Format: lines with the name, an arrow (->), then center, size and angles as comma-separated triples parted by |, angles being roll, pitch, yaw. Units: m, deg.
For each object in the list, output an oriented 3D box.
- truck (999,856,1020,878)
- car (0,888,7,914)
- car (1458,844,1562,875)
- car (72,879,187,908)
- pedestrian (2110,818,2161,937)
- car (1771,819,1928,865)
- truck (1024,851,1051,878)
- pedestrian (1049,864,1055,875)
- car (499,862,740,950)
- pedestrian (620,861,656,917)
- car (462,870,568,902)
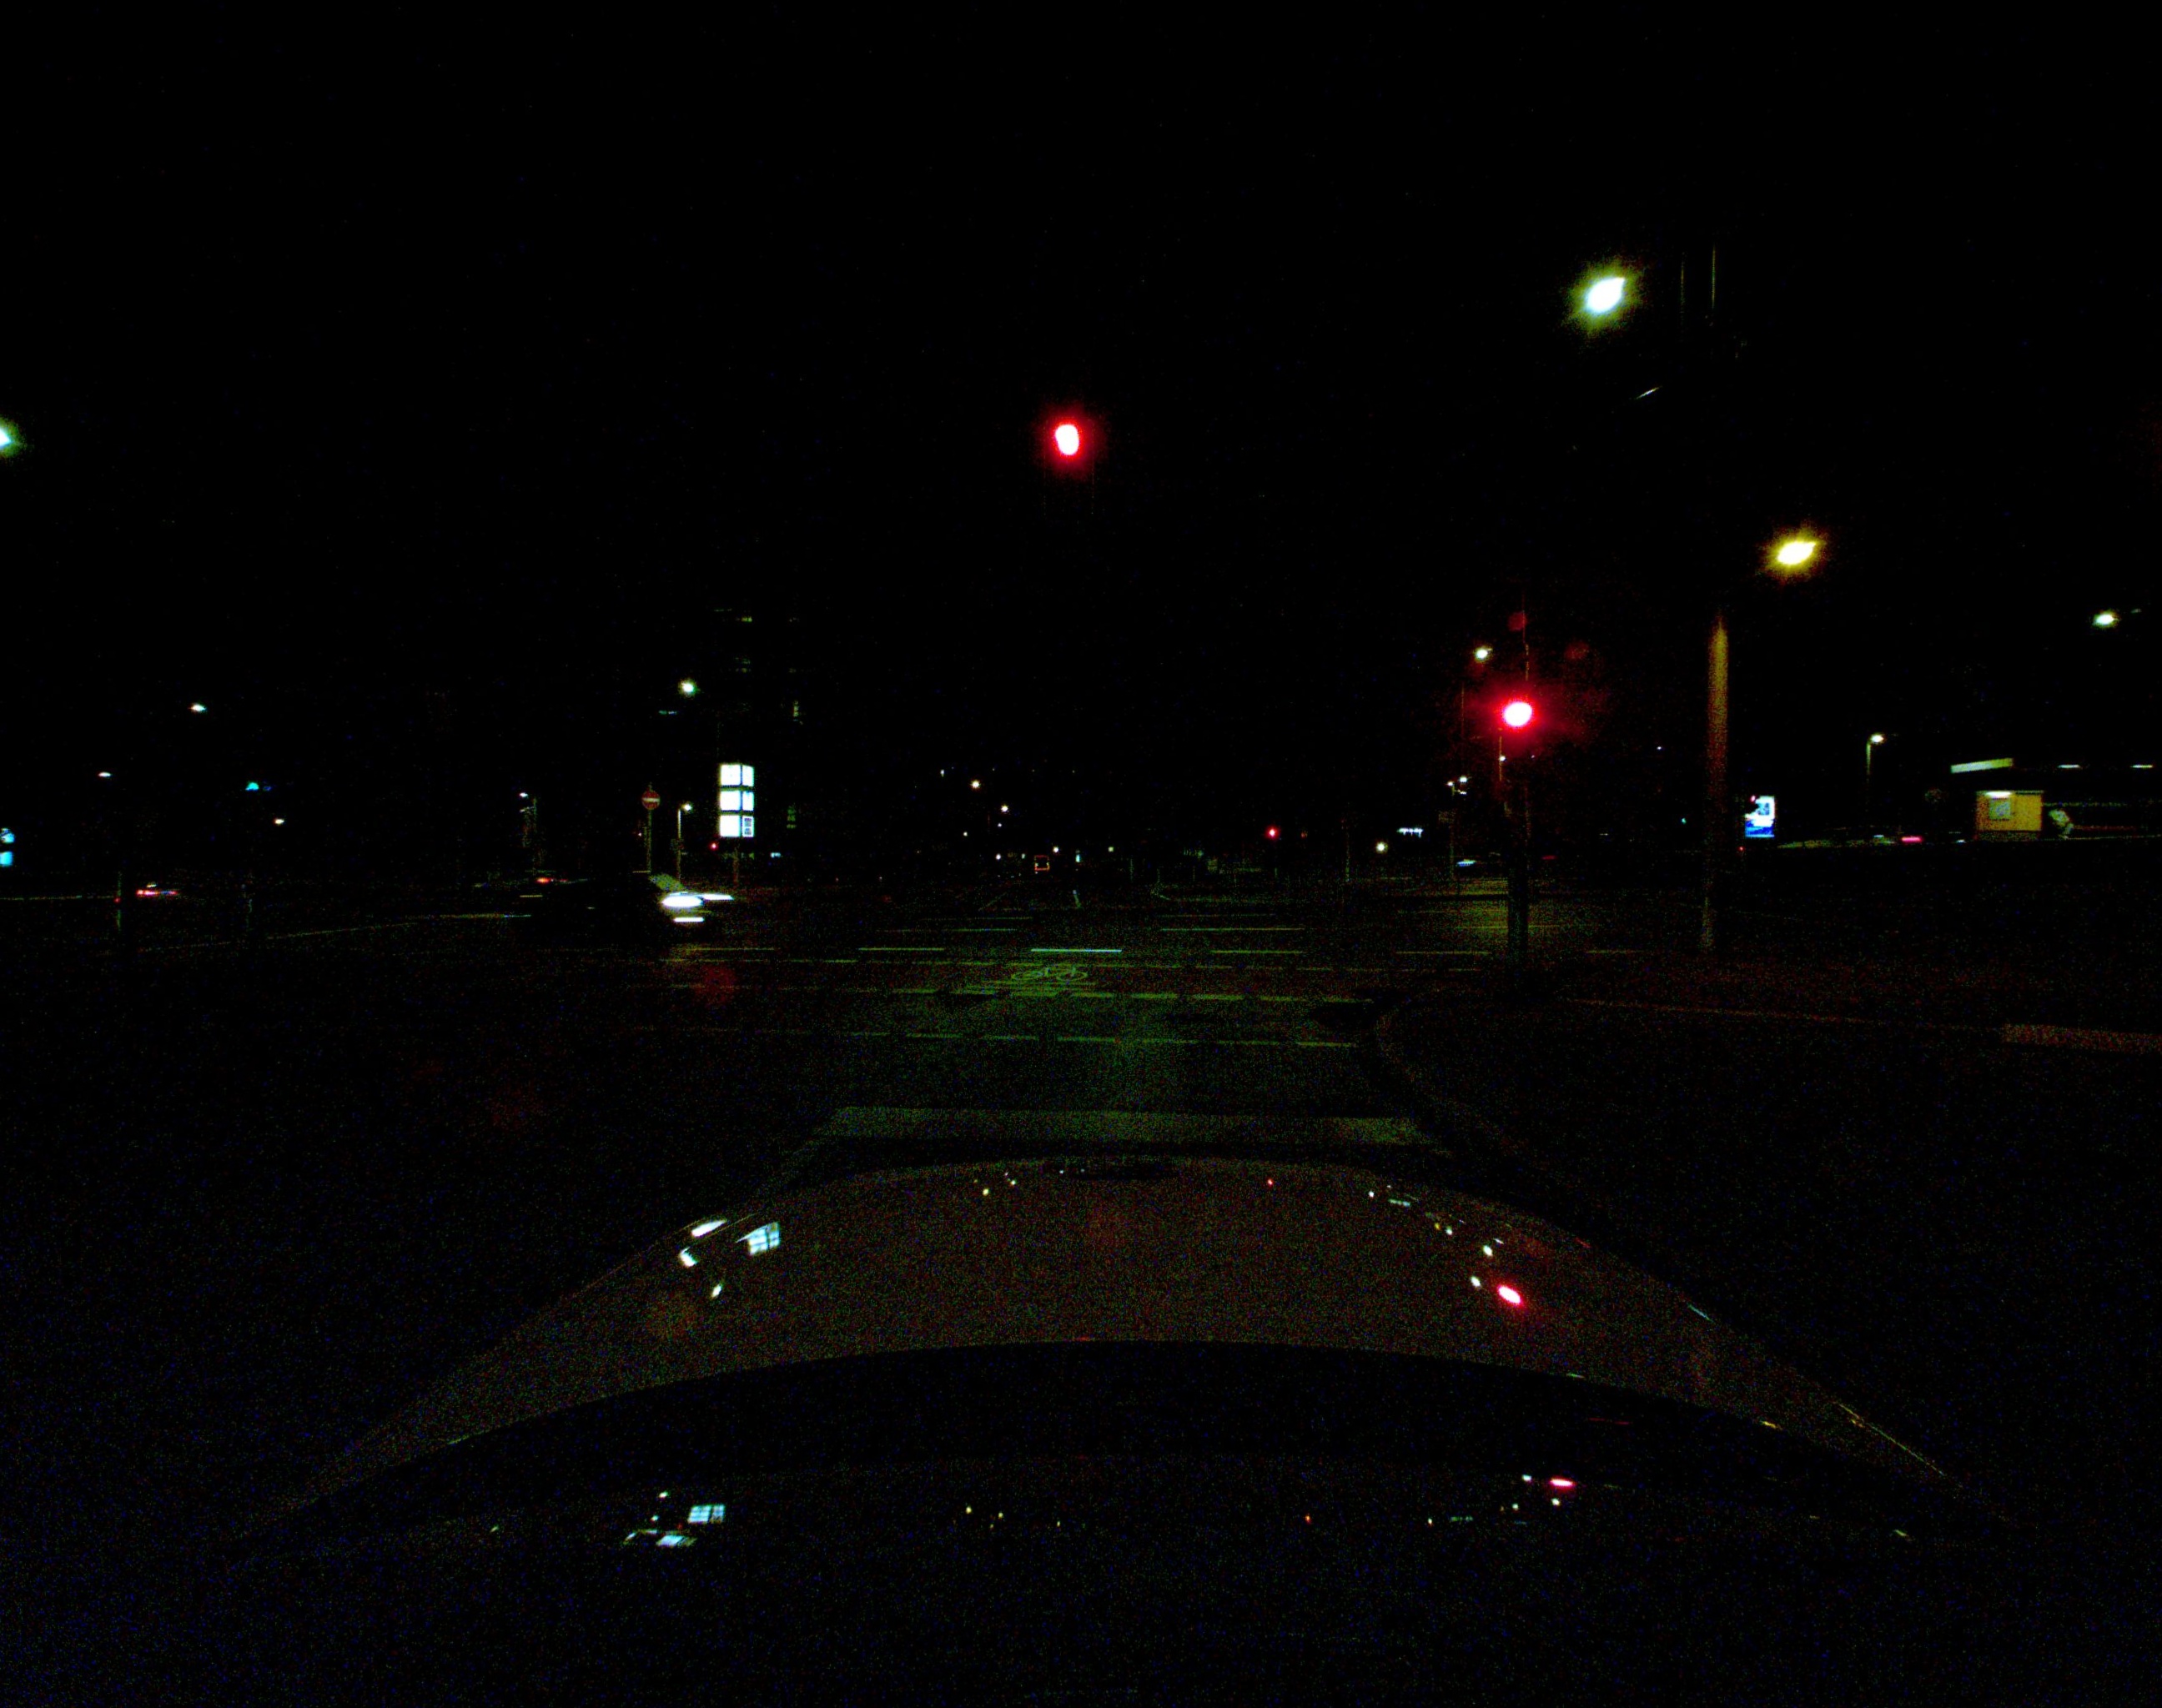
truck -> -10.551, 1.925, 120.137 | 2.419, 3.089, 6.412 | 0, -1, -11
car -> -70.250, 3.039, 51.060 | 3.798, 1.631, 1.816 | -2, 0, 8
car -> 21.846, 0.283, 41.607 | 4.306, 1.388, 1.845 | -2, -1, 5
car -> -52.780, 2.177, 45.223 | 4.553, 1.486, 1.781 | 0, 0, 5
pedestrian -> 15.573, 0.307, 11.592 | 0.870, 1.656, 0.843 | -7, -5, 42
car -> 32.593, -0.503, 34.642 | 4.757, 1.844, 1.845 | -1, 0, 5
truck -> -7.994, 1.929, 149.253 | 3.366, 4.843, 7.865 | 0, -1, -14
pedestrian -> -5.296, 2.837, 147.793 | 0.851, 1.912, 1.001 | 0, -1, -16
car -> -9.247, 1.014, 16.517 | 3.861, 1.473, 1.660 | -2, 2, 2
pedestrian -> -13.946, 1.097, 25.624 | 0.671, 1.722, 0.710 | -1, -2, 25
car -> -30.269, 1.698, 43.660 | 4.377, 1.644, 1.944 | 0, -1, 5
